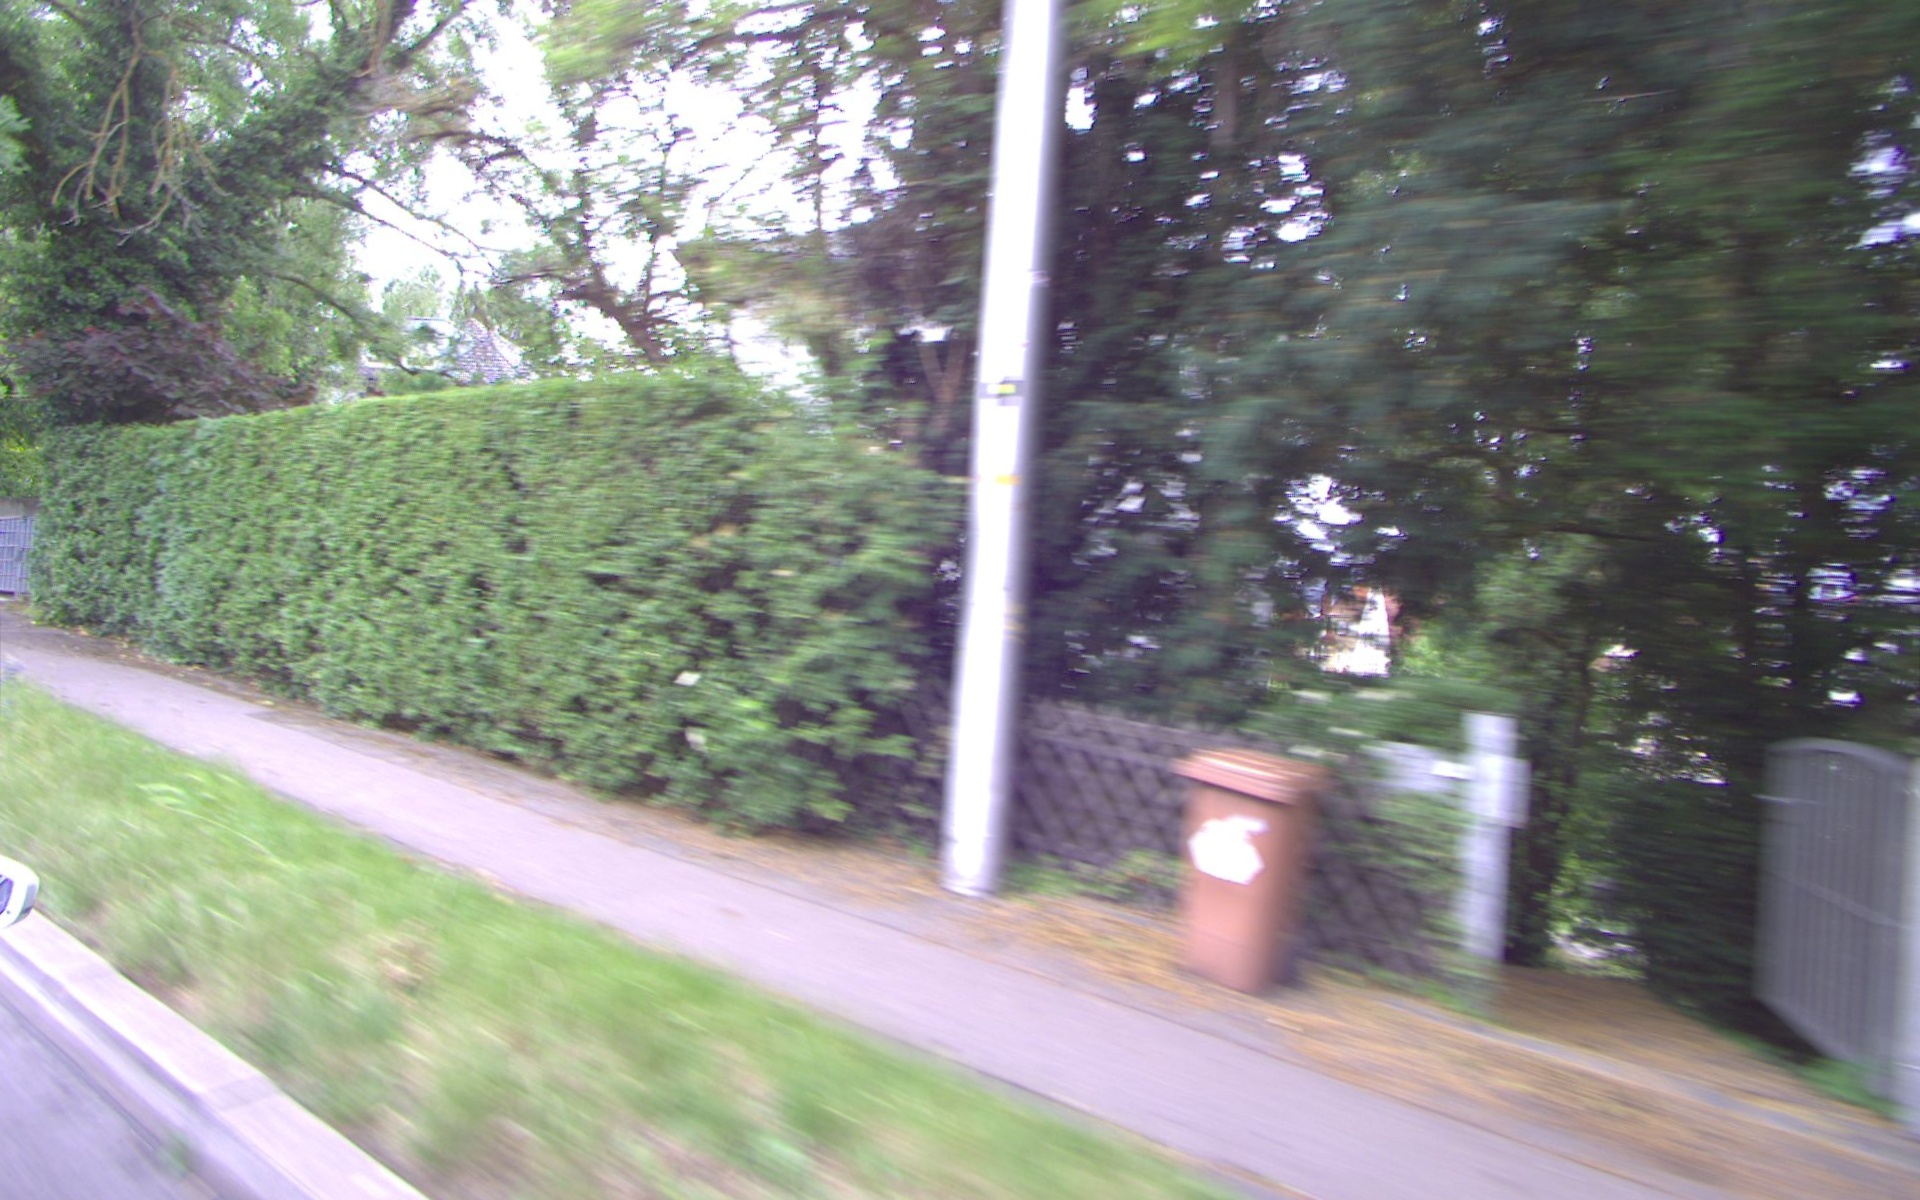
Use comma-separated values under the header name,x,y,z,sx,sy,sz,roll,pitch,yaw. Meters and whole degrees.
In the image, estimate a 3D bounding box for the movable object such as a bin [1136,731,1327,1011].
name,x,y,z,sx,sy,sz,roll,pitch,yaw
movable object such as a bin,1.138,1.074,4.177,0.557,0.958,0.556,7,-1,28
